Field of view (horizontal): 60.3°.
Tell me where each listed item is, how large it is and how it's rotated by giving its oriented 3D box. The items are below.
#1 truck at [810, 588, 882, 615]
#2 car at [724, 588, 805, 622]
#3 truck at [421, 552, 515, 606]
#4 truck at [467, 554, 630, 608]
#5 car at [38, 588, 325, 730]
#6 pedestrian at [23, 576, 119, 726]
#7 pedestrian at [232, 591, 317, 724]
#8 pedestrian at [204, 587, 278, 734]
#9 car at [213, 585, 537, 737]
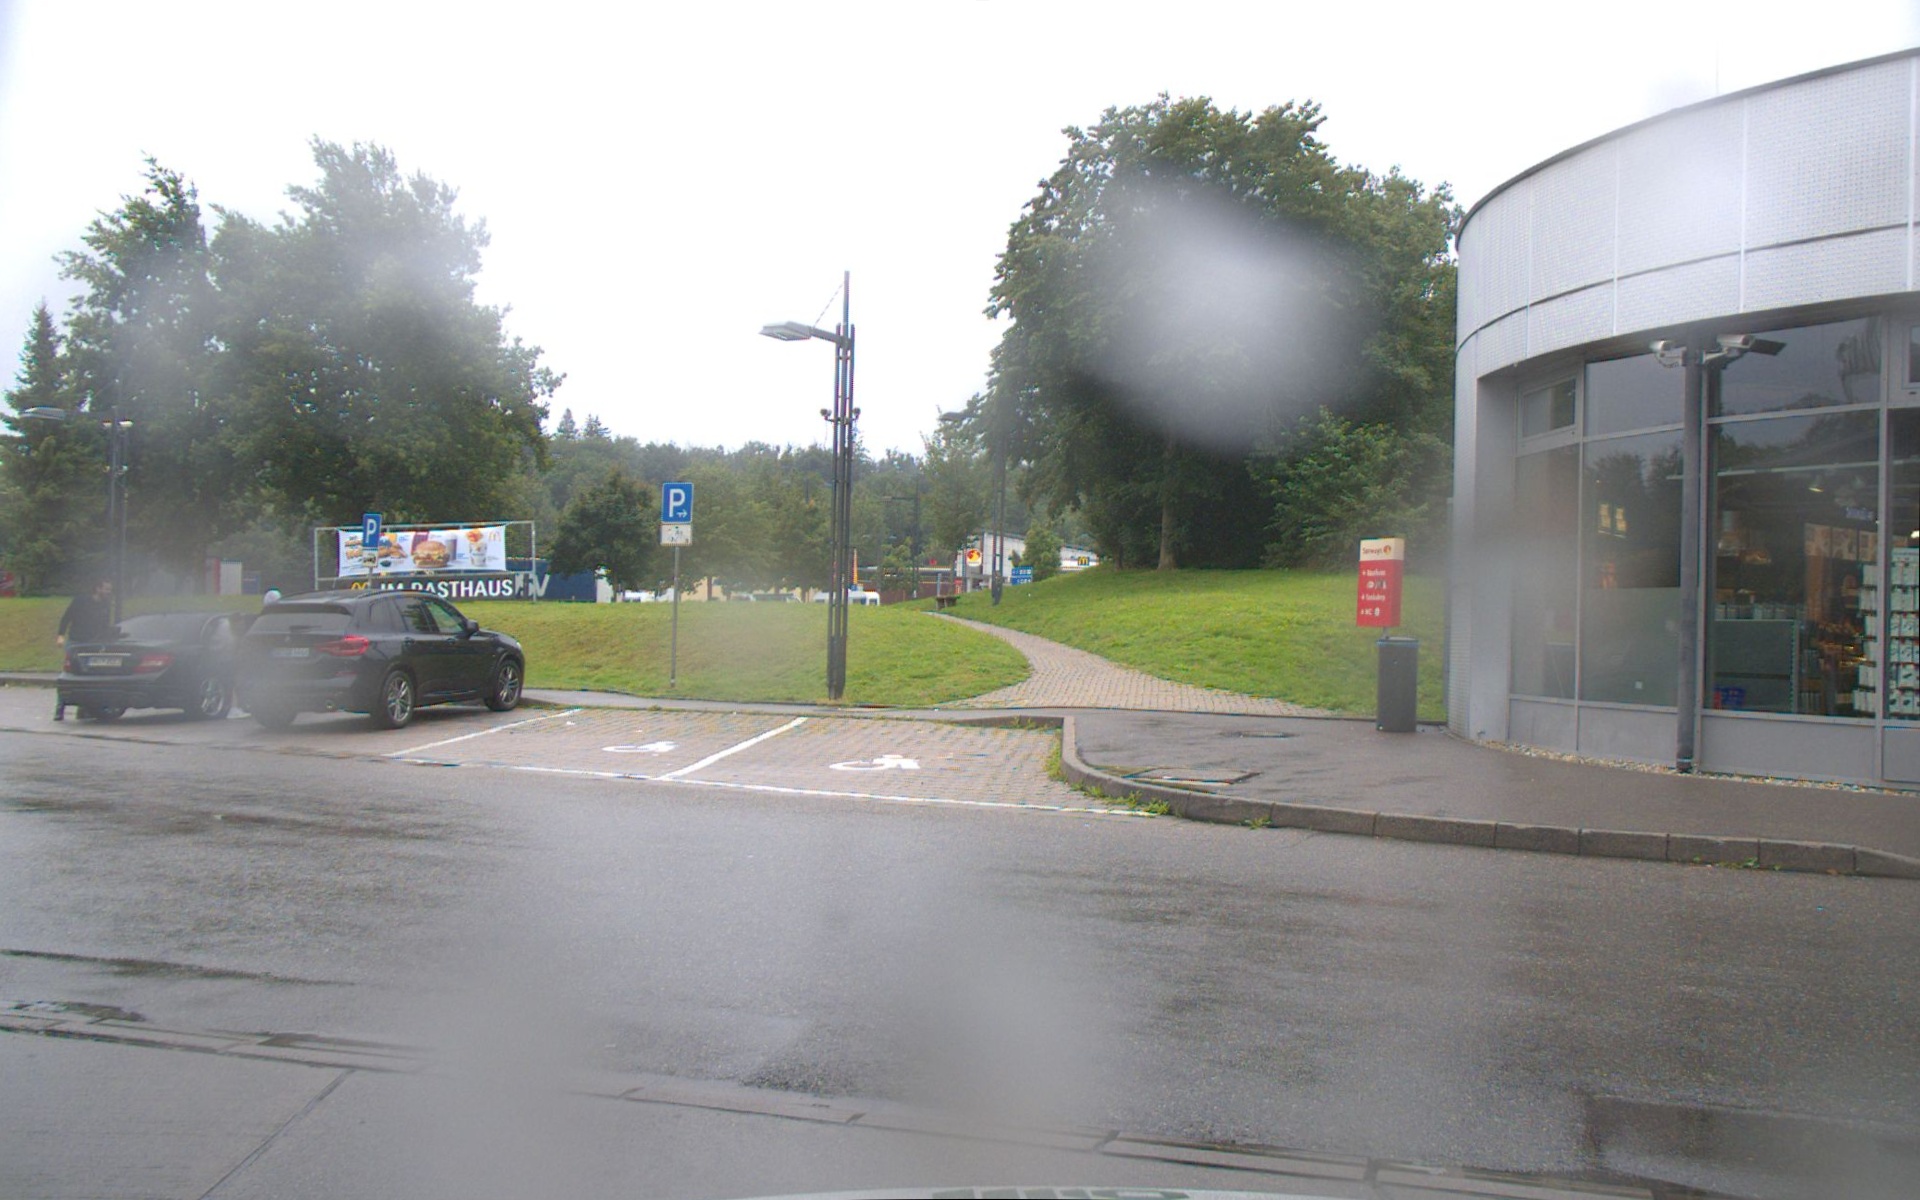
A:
[{"bbox_3d":[-9.236,0.142,133.649,5.298,2.049,2.366,1,0,24],"label":"truck"},{"bbox_3d":[-10.794,0.289,91.295,4.093,1.814,1.820,1,0,-38],"label":"car"},{"bbox_3d":[-27.982,-1.169,94.235,2.142,2.971,5.384,1,0,24],"label":"truck"},{"bbox_3d":[-24.931,-1.086,101.251,2.142,2.971,13.092,1,0,23],"label":"truck"},{"bbox_3d":[-10.571,0.720,22.872,1.976,1.741,4.342,-1,1,-2],"label":"car"},{"bbox_3d":[-11.748,0.661,21.872,0.873,1.920,0.704,1,-1,23],"label":"pedestrian"},{"bbox_3d":[-8.801,0.729,21.225,0.940,1.660,0.698,1,-1,-27],"label":"pedestrian"},{"bbox_3d":[-9.632,0.799,22.185,0.689,1.920,0.951,1,-1,-11],"label":"pedestrian"},{"bbox_3d":[-7.364,0.694,21.354,1.973,1.741,4.347,-1,1,11],"label":"car"}]
